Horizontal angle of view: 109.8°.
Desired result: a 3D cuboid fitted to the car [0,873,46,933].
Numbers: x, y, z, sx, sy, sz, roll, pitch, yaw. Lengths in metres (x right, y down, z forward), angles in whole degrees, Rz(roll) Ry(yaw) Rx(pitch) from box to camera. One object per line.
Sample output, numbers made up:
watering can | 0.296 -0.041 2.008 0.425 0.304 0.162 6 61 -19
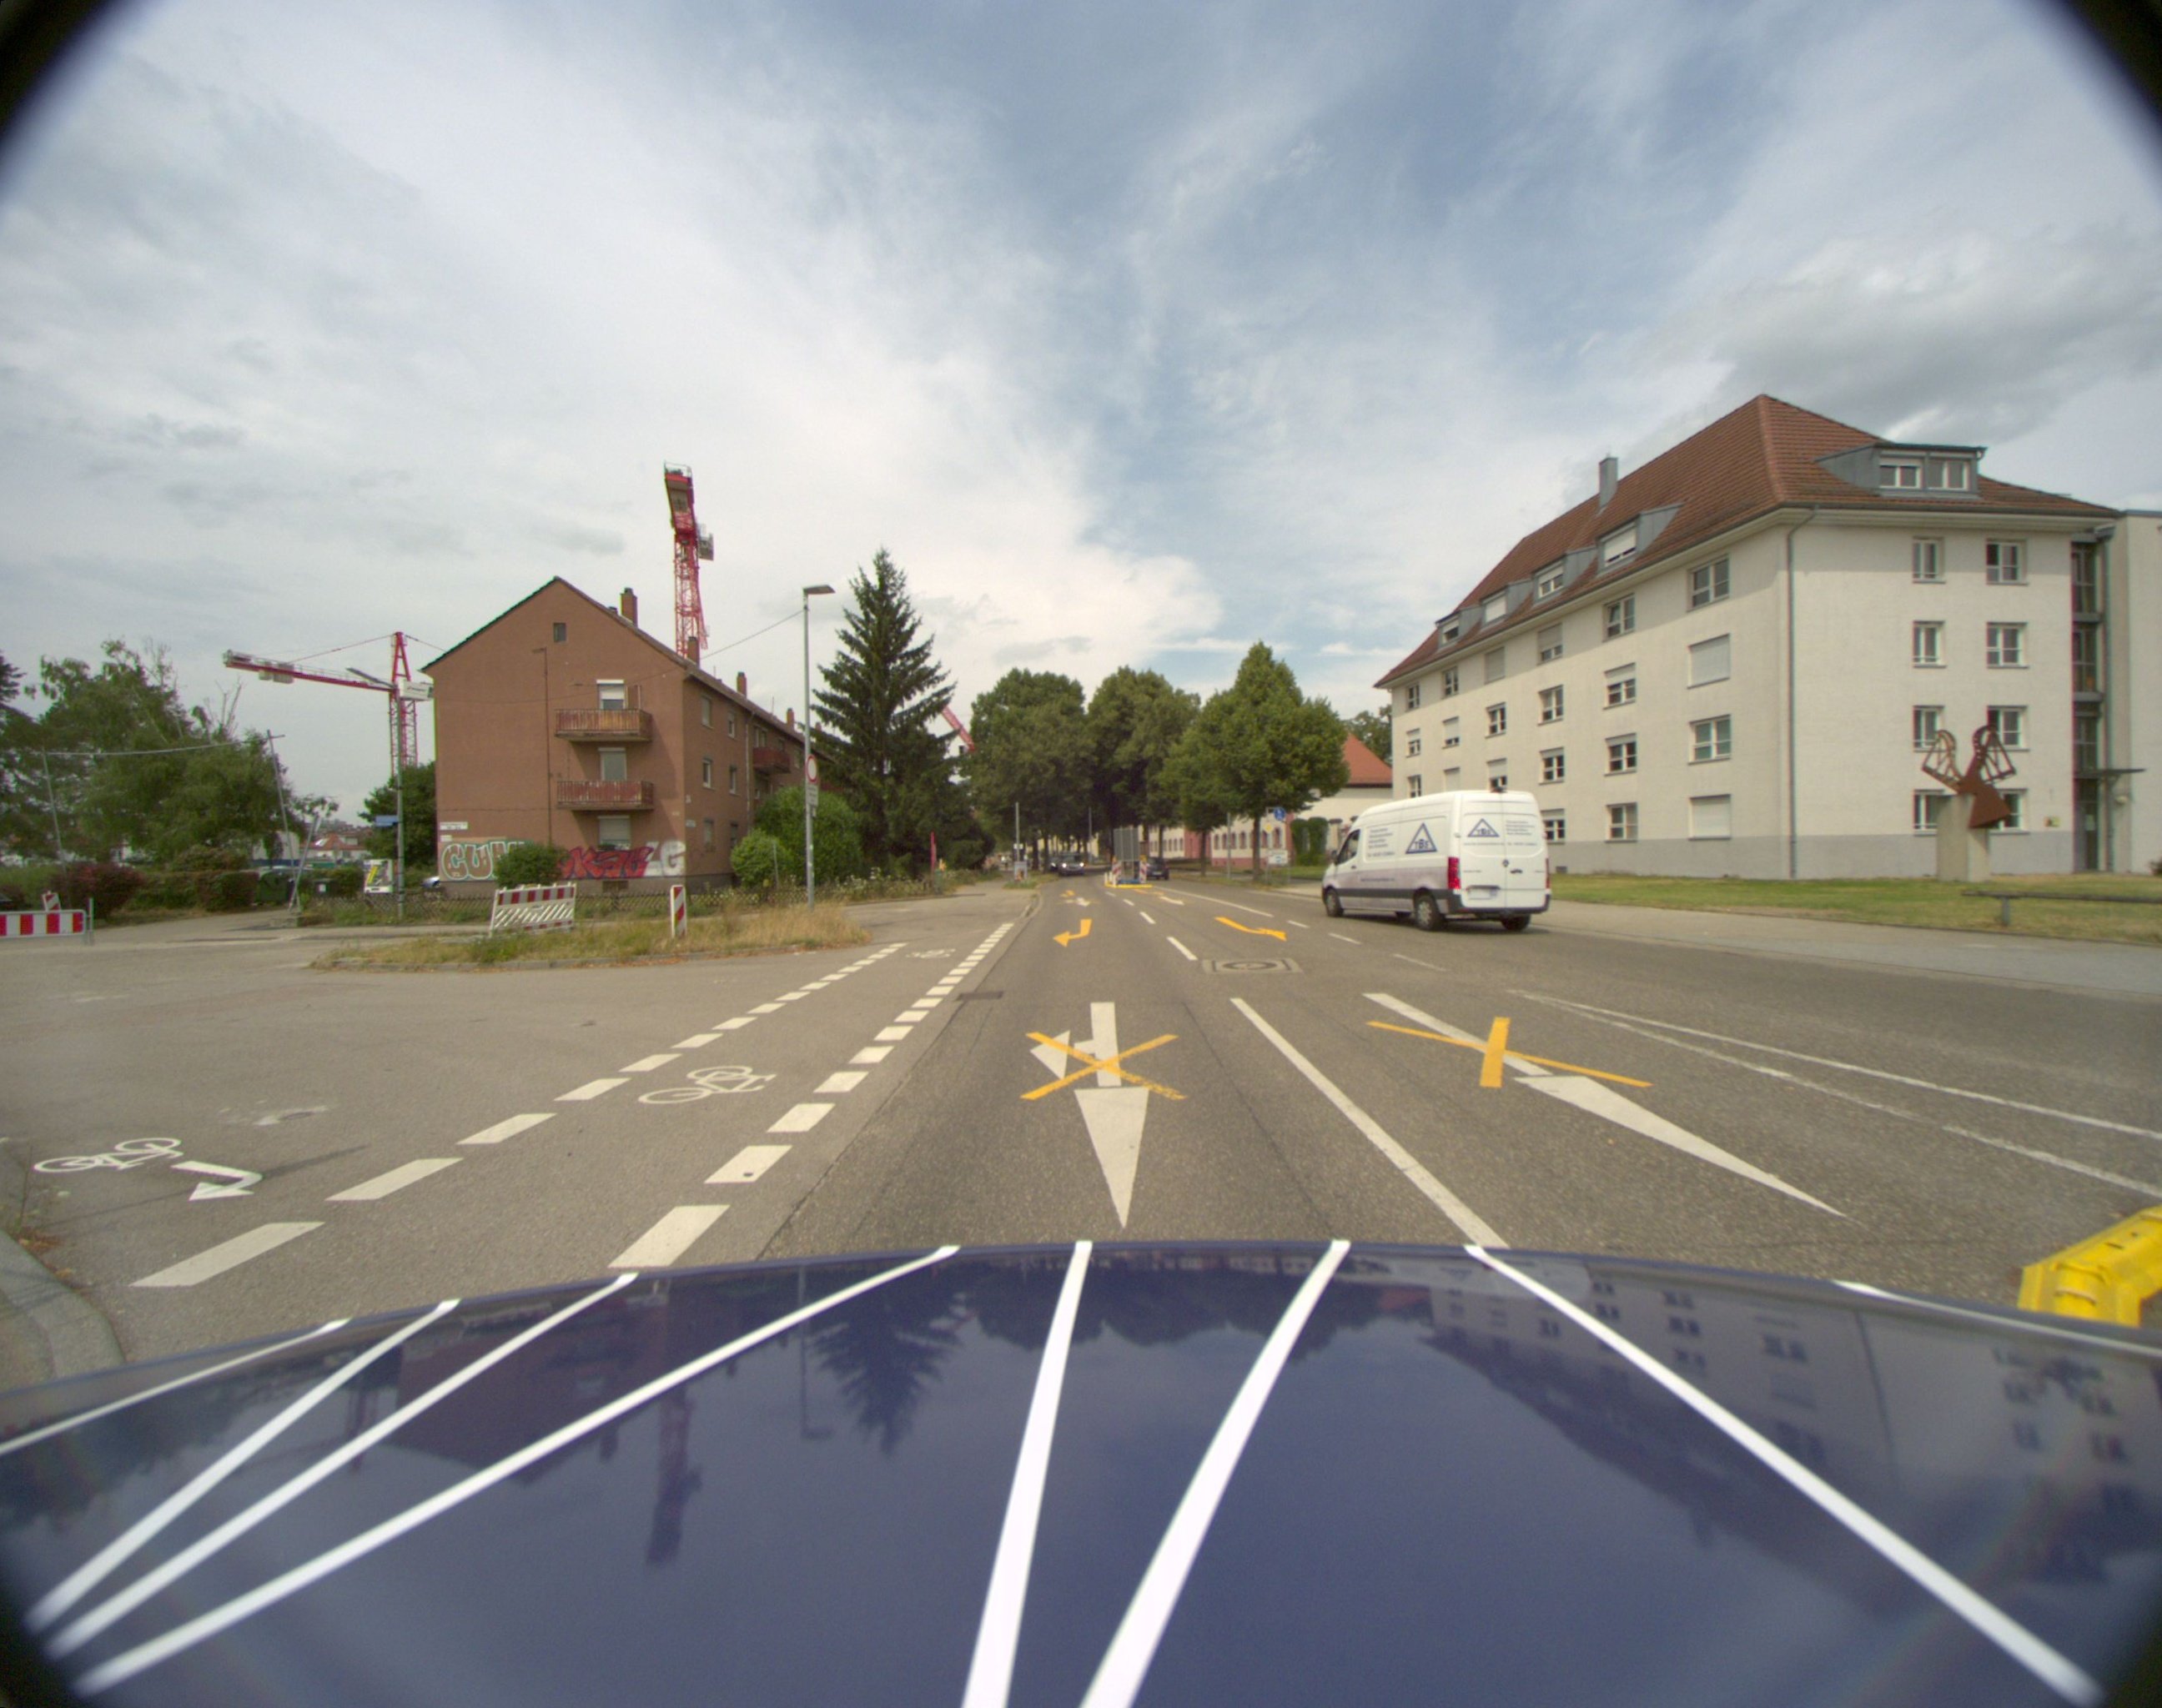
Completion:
car | -35.380 1.572 24.321 3.990 1.838 1.805 -1 1 24

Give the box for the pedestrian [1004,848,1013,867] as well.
pedestrian | -7.598 0.351 79.375 0.856 2.002 0.731 -1 0 -11

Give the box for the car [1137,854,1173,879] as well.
car | 4.566 0.758 47.226 1.676 1.402 3.919 -1 0 -3

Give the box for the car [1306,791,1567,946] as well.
car | 7.144 0.234 16.276 2.071 2.670 5.965 -2 0 -9

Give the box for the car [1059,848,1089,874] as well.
car | -0.614 0.525 61.037 1.811 1.936 4.581 -1 0 -7
